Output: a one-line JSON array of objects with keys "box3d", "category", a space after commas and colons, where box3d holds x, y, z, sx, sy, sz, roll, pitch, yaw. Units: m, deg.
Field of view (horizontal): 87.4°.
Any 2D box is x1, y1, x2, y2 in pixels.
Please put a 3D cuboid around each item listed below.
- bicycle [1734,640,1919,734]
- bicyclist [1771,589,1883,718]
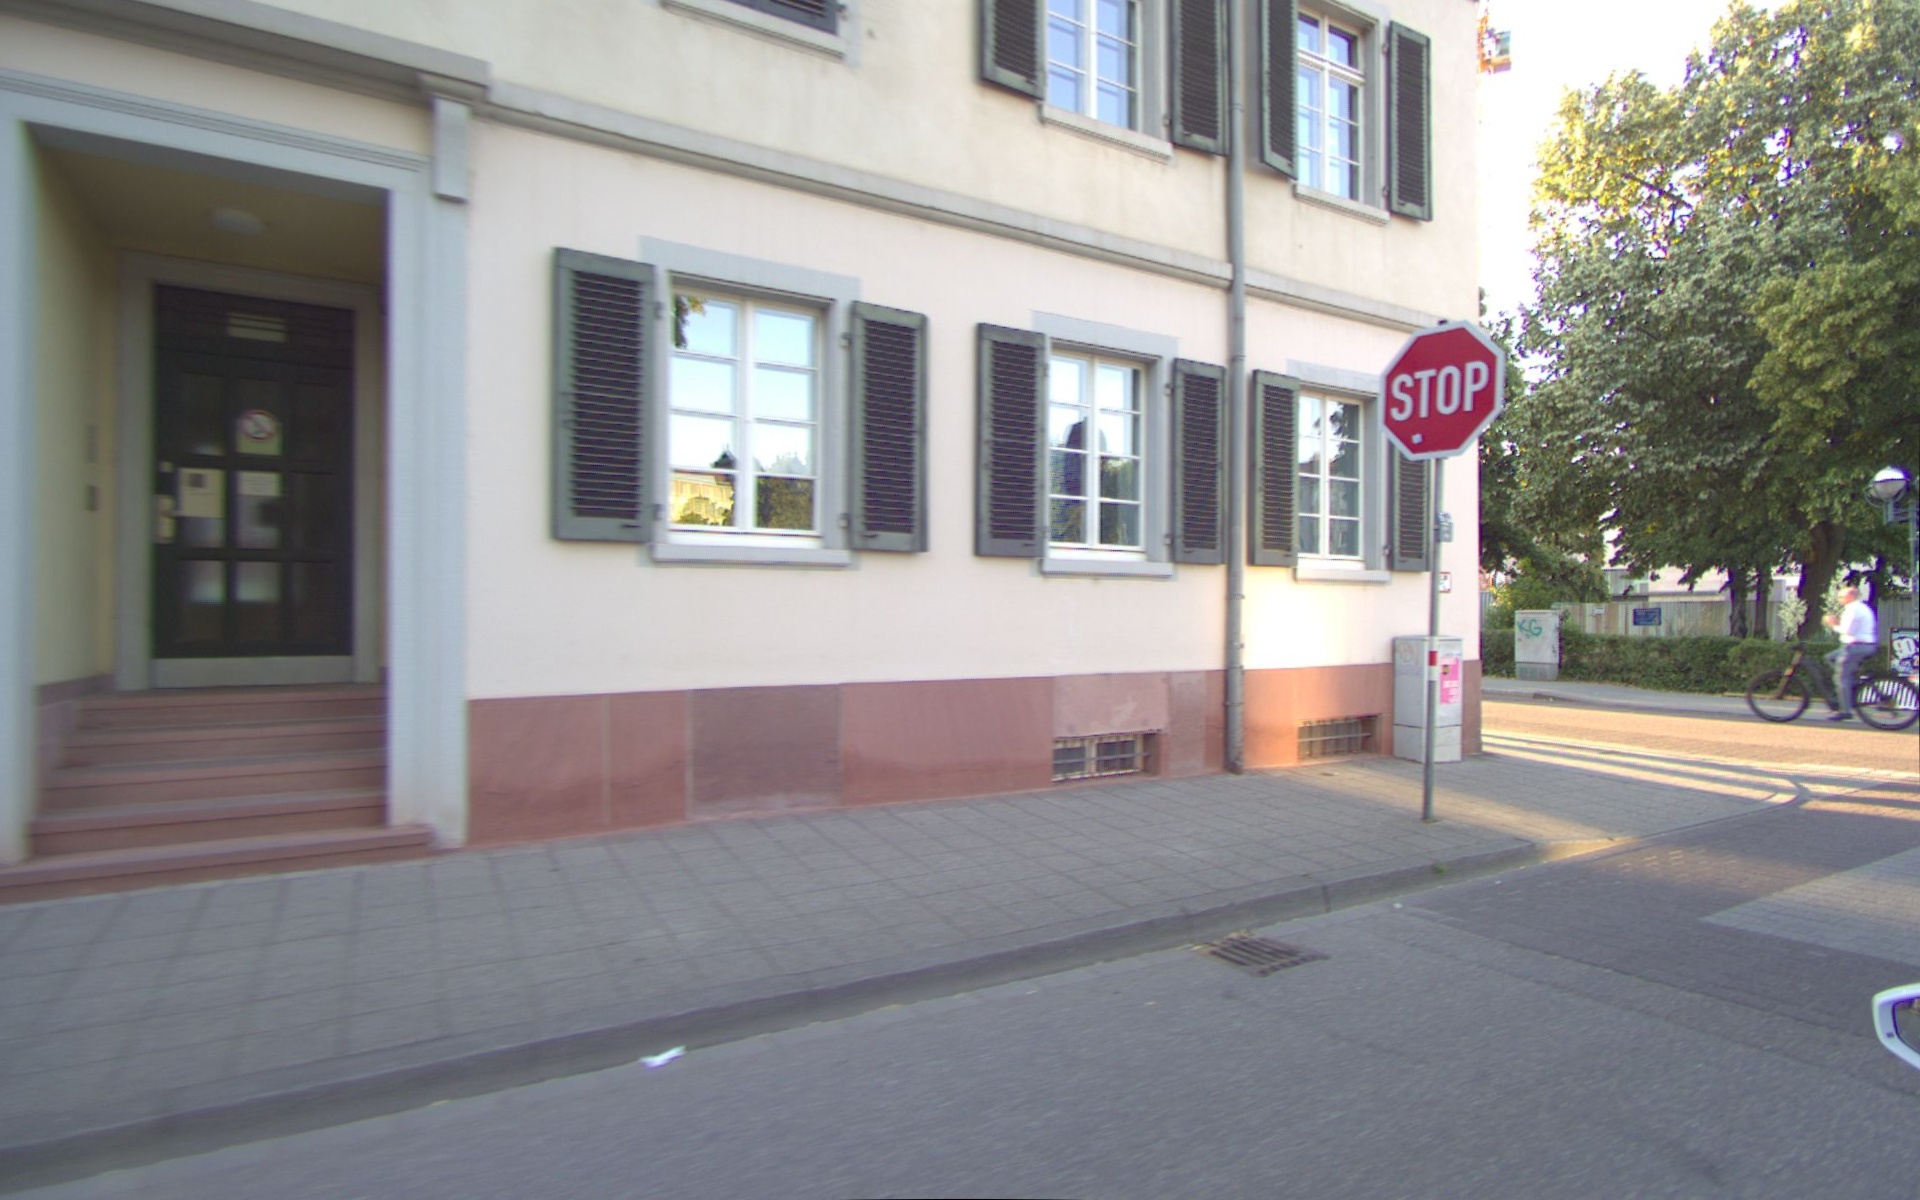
[{"box3d": [11.615, 1.120, 13.447, 0.591, 1.136, 1.912, 1, -1, -39], "category": "bicycle"}, {"box3d": [11.618, 0.702, 13.478, 0.591, 1.655, 1.052, 1, -1, -39], "category": "bicyclist"}]
